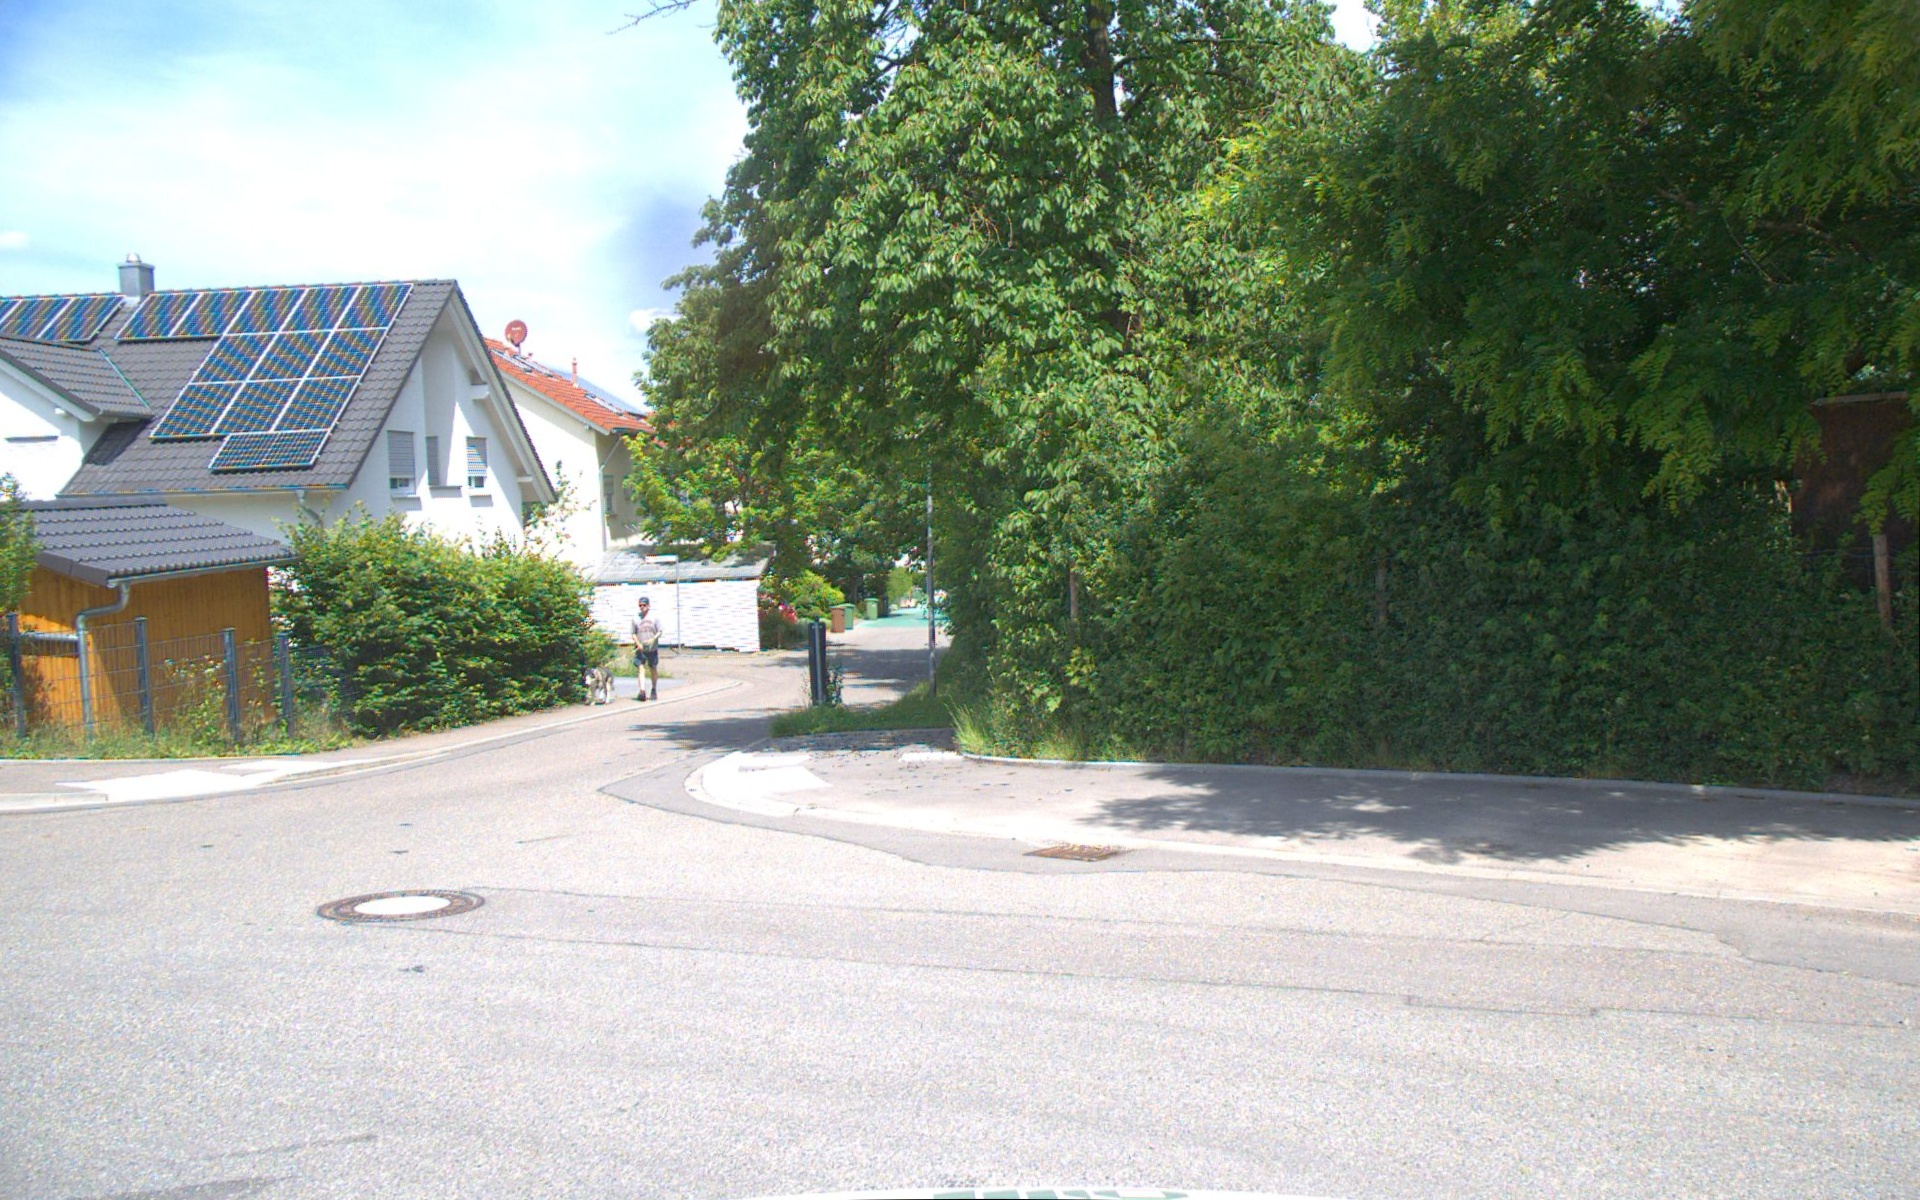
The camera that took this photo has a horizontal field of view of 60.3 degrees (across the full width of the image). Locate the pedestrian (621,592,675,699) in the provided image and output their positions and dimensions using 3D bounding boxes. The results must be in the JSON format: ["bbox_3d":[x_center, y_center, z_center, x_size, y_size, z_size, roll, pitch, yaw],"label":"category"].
[{"bbox_3d":[-5.519,0.820,29.268,0.829,1.852,0.834,-1,-3,-4],"label":"pedestrian"}]

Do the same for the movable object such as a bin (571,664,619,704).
[{"bbox_3d":[-6.118,1.403,27.762,0.536,0.640,1.021,-1,-2,2],"label":"movable object such as a bin"}]

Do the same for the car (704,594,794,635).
[{"bbox_3d":[-8.011,0.541,62.715,3.352,1.444,1.583,0,2,-9],"label":"car"}]
